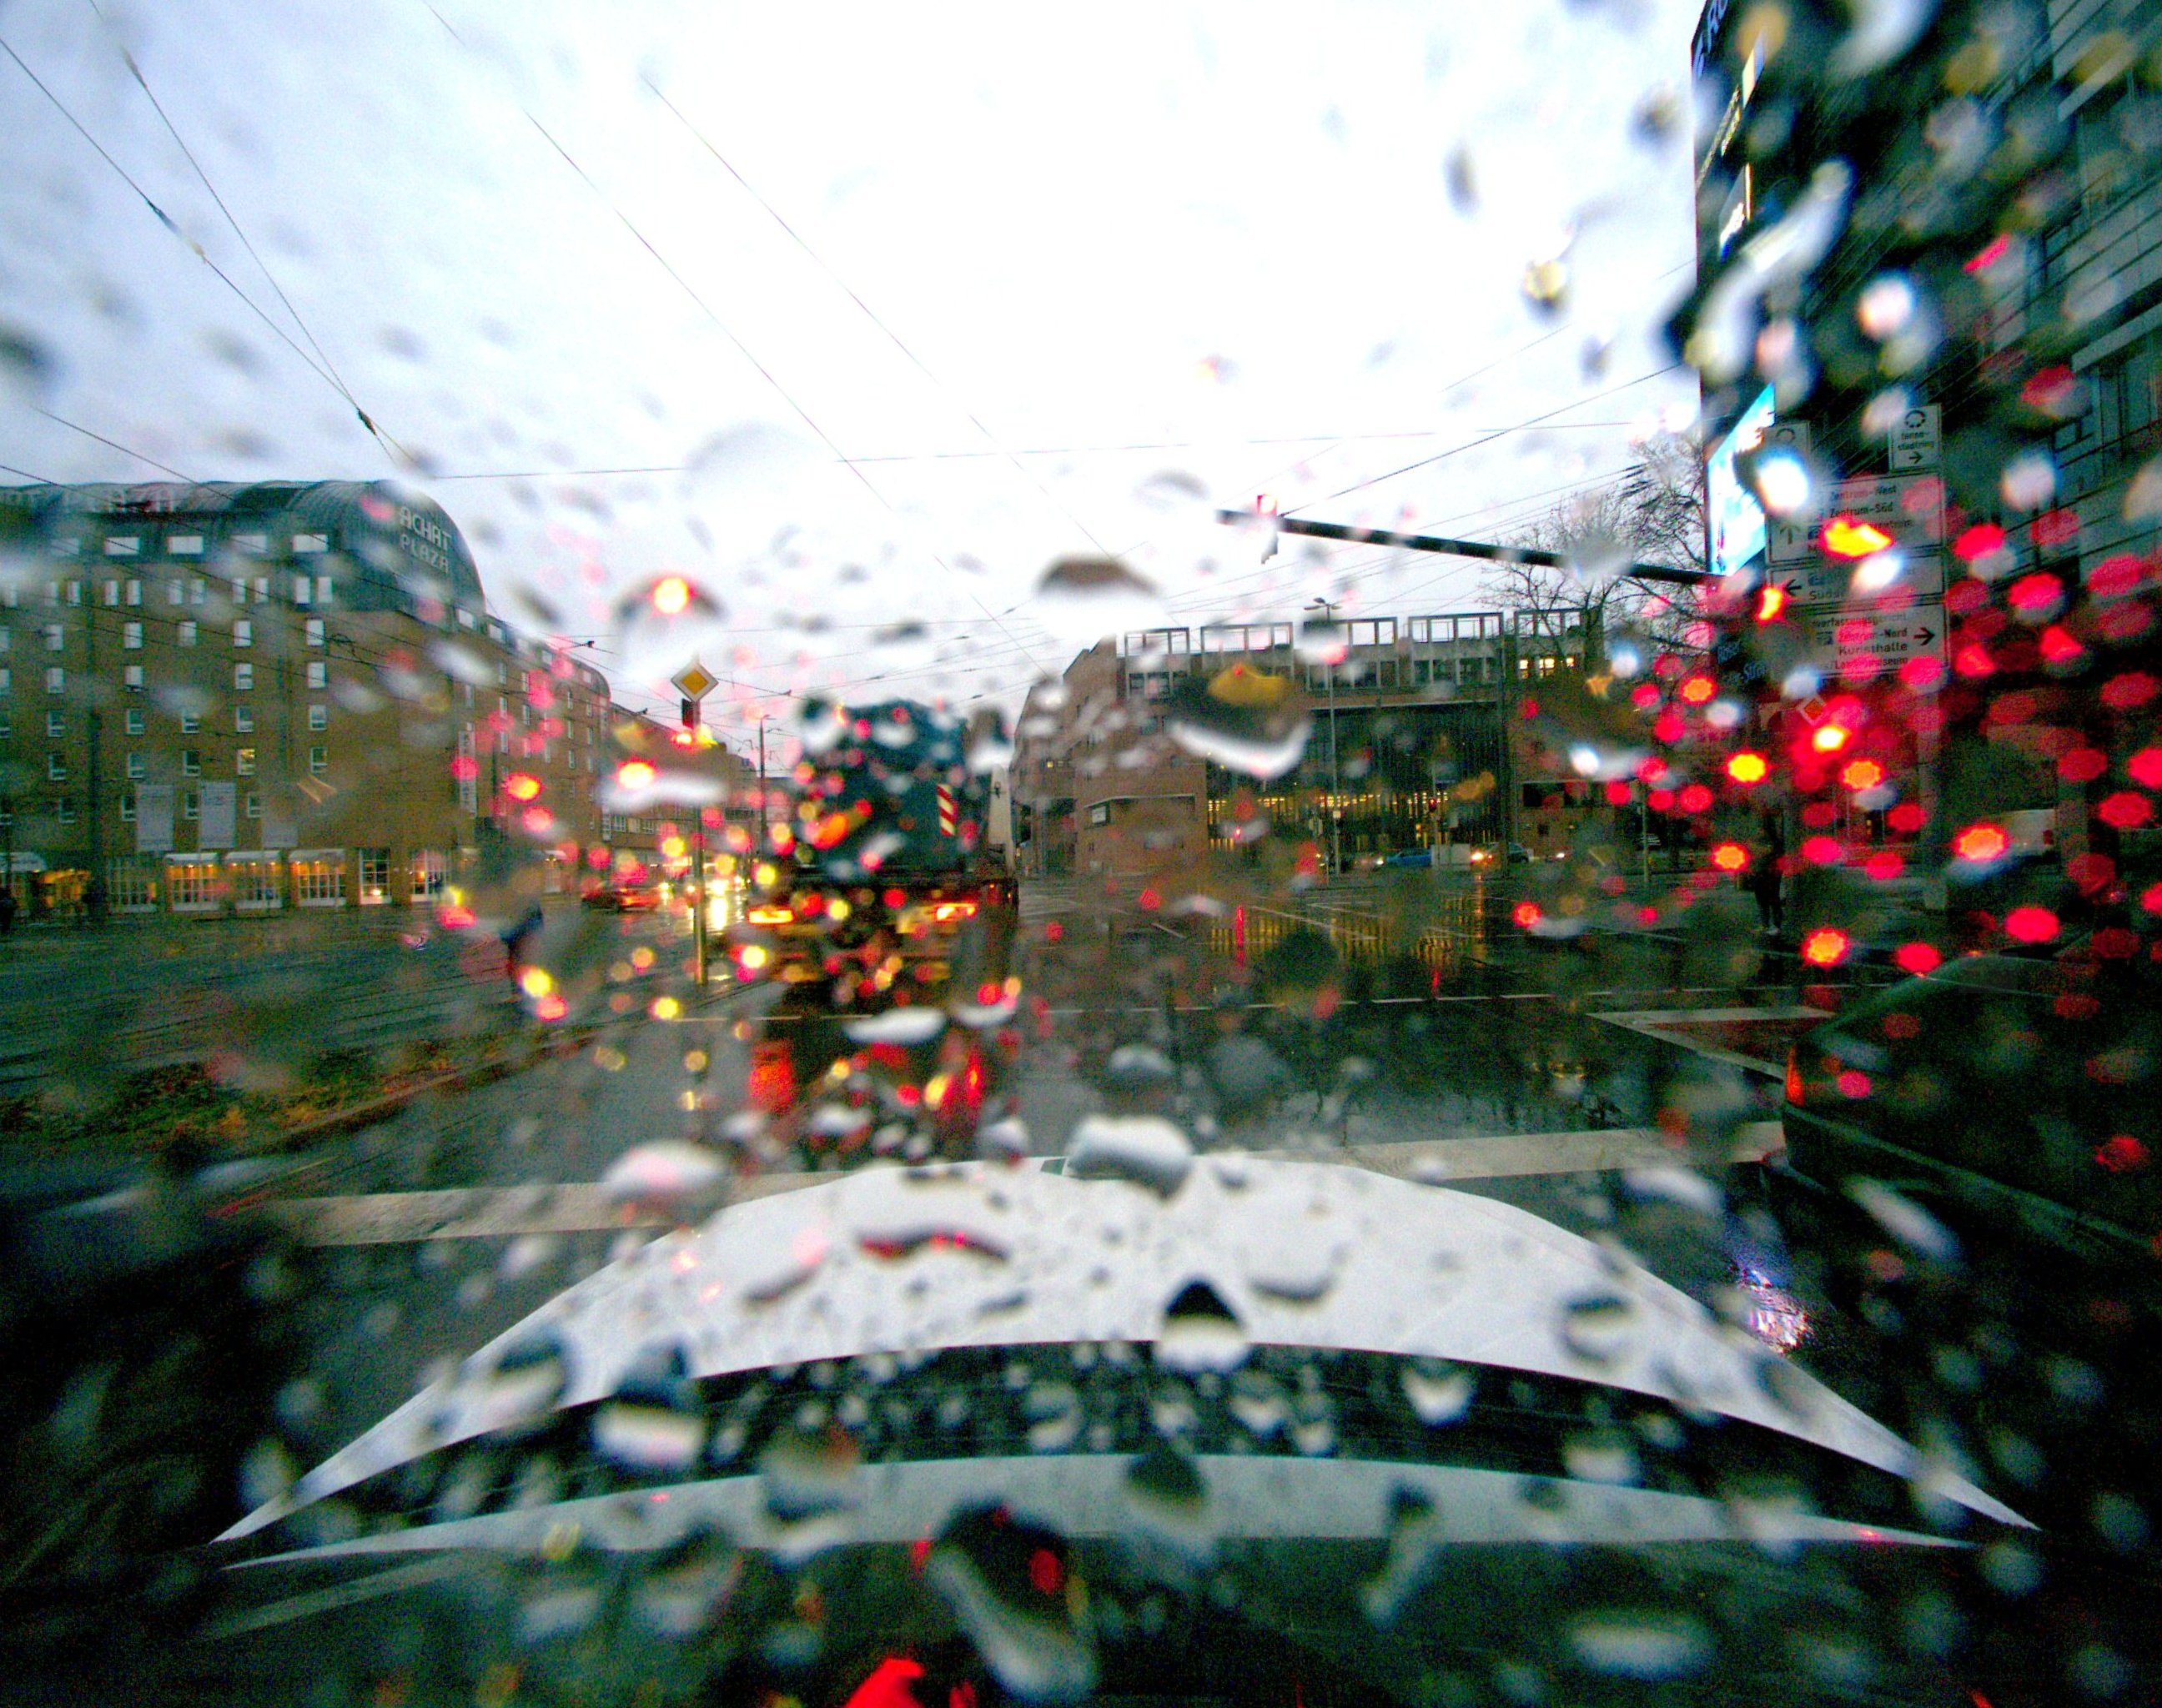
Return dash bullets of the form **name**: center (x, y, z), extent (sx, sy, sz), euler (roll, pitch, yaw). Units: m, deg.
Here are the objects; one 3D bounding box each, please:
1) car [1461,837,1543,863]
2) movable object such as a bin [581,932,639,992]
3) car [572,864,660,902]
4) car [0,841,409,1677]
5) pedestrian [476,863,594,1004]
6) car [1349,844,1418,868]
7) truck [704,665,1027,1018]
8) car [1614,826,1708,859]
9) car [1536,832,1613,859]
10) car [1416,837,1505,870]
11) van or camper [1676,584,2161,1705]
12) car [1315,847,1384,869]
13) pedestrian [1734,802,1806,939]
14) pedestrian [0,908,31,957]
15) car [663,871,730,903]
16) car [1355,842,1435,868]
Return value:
- **car**: center (24.821, -0.253, 48.097), extent (3.979, 1.288, 1.845), euler (-2, 4, -4)
- **movable object such as a bin**: center (-6.114, 1.396, 10.574), extent (0.541, 0.699, 0.407), euler (-2, -2, -44)
- **car**: center (-19.495, 1.222, 34.100), extent (3.708, 1.459, 1.714), euler (-2, 0, 35)
- **car**: center (-2.848, 0.776, 0.391), extent (1.624, 1.523, 3.944), euler (-2, 0, 2)
- **pedestrian**: center (-6.777, 0.949, 10.112), extent (1.043, 1.601, 0.707), euler (-3, -2, -44)
- **car**: center (19.146, 0.121, 51.614), extent (3.713, 1.263, 1.845), euler (-2, 4, -4)
- **truck**: center (-2.512, -0.129, 12.351), extent (2.830, 3.633, 7.524), euler (-2, 0, -1)
- **car**: center (32.249, -0.650, 45.348), extent (3.979, 1.600, 1.845), euler (-2, 4, -4)
- **car**: center (32.161, -0.575, 53.093), extent (3.979, 1.504, 1.845), euler (-2, 4, -4)
- **car**: center (20.434, -0.056, 43.912), extent (3.979, 1.504, 1.845), euler (-2, 4, -4)
- **van or camper**: center (2.673, 0.490, 0.319), extent (1.750, 1.906, 4.420), euler (-1, 0, 2)
- **car**: center (18.248, 0.293, 55.464), extent (3.977, 1.310, 1.998), euler (-2, 0, -2)
- **pedestrian**: center (11.297, 0.270, 13.372), extent (0.574, 2.184, 0.619), euler (-1, -1, -4)
- **pedestrian**: center (-46.152, 3.386, 34.982), extent (0.887, 2.010, 1.173), euler (-3, -1, 43)
- **car**: center (-21.762, 1.845, 46.028), extent (2.265, 1.607, 4.945), euler (-2, 0, -39)
- **car**: center (18.314, 0.016, 47.545), extent (3.979, 1.263, 1.845), euler (-2, 4, -4)
